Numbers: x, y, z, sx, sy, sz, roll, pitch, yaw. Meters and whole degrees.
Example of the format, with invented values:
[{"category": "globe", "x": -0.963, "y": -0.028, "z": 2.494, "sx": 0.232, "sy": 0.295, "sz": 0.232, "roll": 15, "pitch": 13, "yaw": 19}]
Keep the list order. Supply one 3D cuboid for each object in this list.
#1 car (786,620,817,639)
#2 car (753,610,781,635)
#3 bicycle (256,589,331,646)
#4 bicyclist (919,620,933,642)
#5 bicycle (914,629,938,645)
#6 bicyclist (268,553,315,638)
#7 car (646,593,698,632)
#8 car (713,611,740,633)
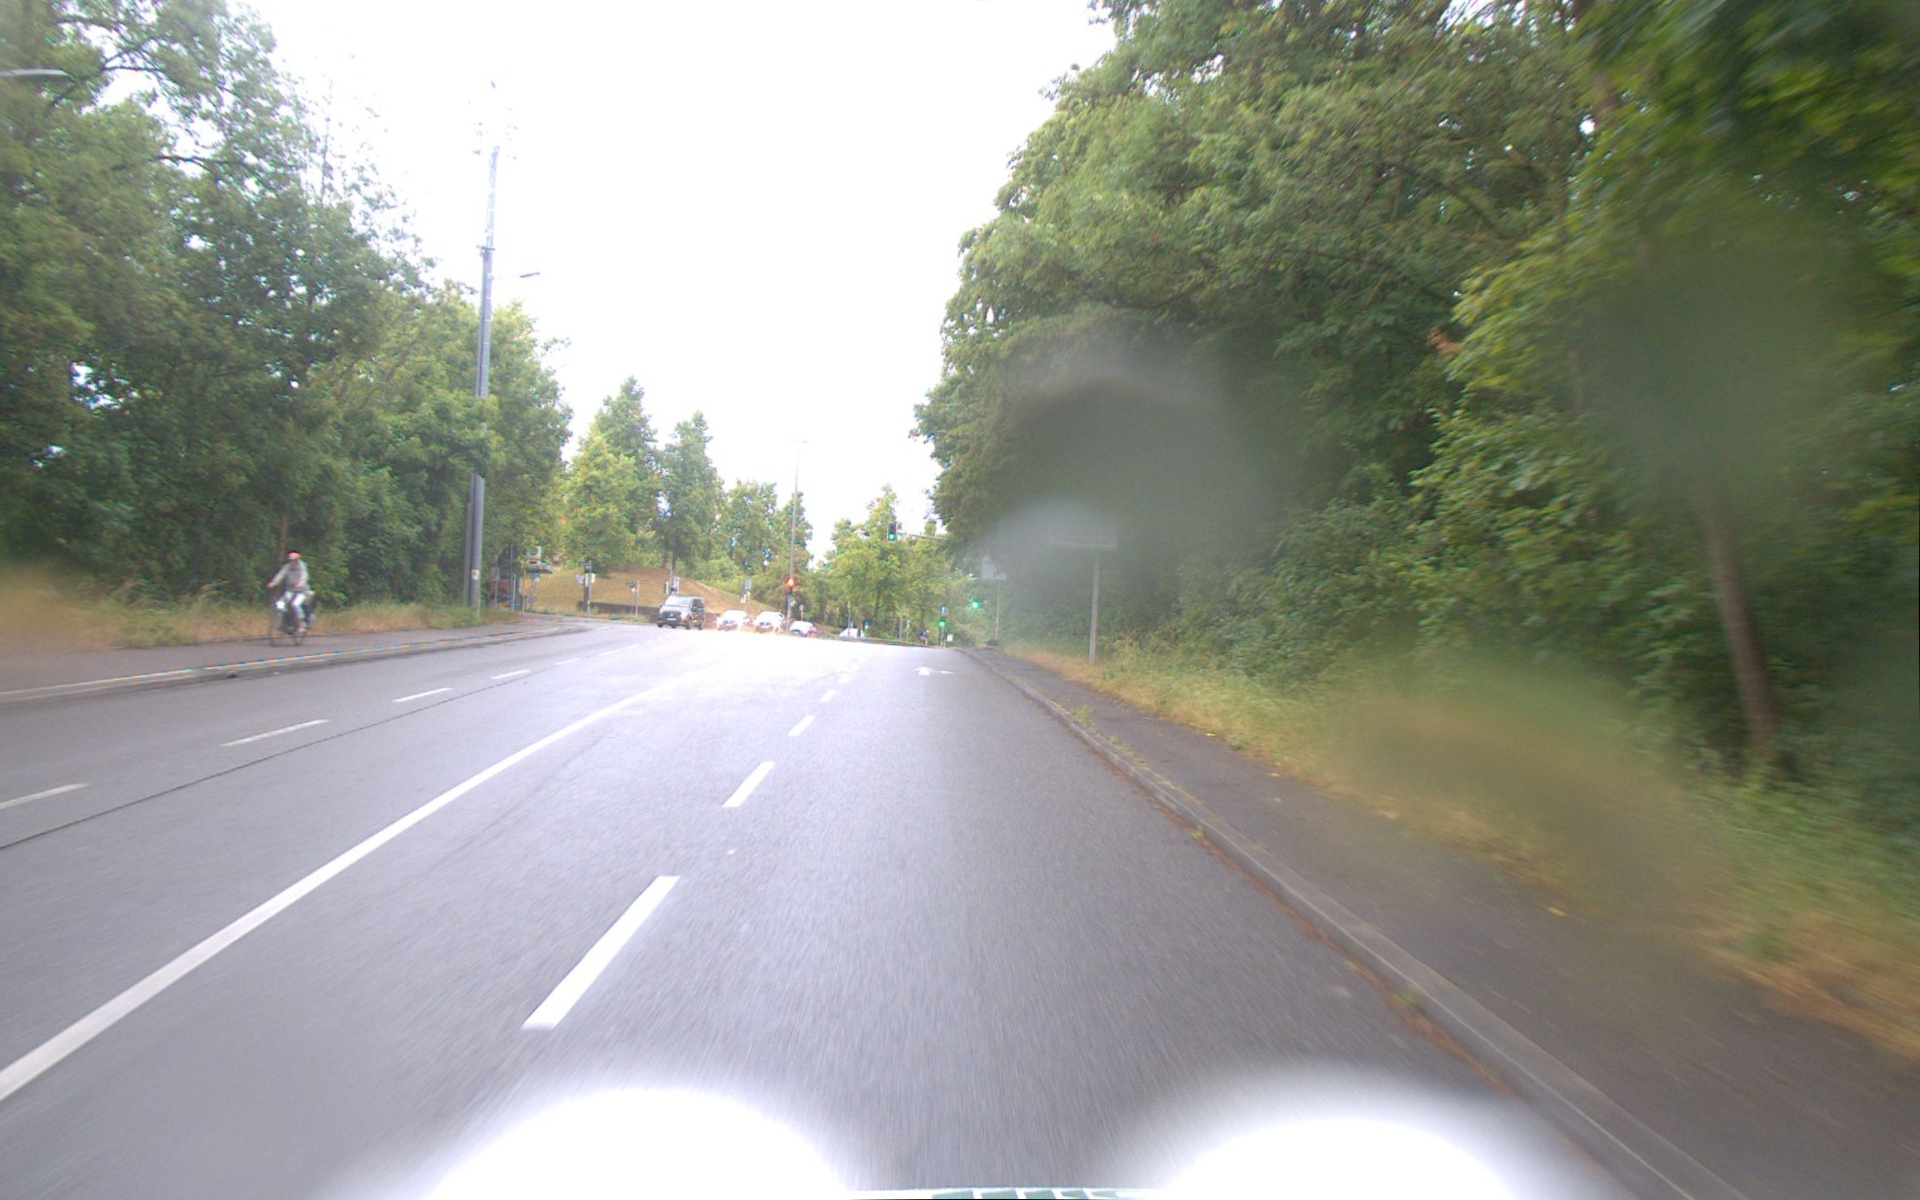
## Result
[{"category": "car", "x": -12.755, "y": 2.352, "z": 133.456, "sx": 1.836, "sy": 1.398, "sz": 4.385, "roll": 3, "pitch": -1, "yaw": 3}, {"category": "car", "x": -12.280, "y": 1.411, "z": 104.915, "sx": 1.669, "sy": 1.452, "sz": 4.072, "roll": 3, "pitch": -1, "yaw": -7}, {"category": "bicycle", "x": -12.762, "y": 0.324, "z": 31.738, "sx": 0.443, "sy": 1.021, "sz": 2.018, "roll": 4, "pitch": 0, "yaw": 4}, {"category": "bicyclist", "x": -2.898, "y": 2.658, "z": 140.079, "sx": 0.795, "sy": 1.783, "sz": 0.713, "roll": 8, "pitch": -7, "yaw": -44}, {"category": "bicycle", "x": -2.864, "y": 3.144, "z": 140.119, "sx": 2.123, "sy": 1.163, "sz": 0.545, "roll": 7, "pitch": -4, "yaw": -44}, {"category": "bicyclist", "x": -12.795, "y": -0.086, "z": 31.672, "sx": 0.567, "sy": 1.614, "sz": 0.700, "roll": 1, "pitch": -1, "yaw": 4}, {"category": "car", "x": -16.676, "y": 0.730, "z": 96.120, "sx": 2.061, "sy": 1.979, "sz": 5.158, "roll": 7, "pitch": 0, "yaw": -2}, {"category": "car", "x": -15.441, "y": 1.453, "z": 109.491, "sx": 1.600, "sy": 1.419, "sz": 3.994, "roll": 2, "pitch": -1, "yaw": -6}]
